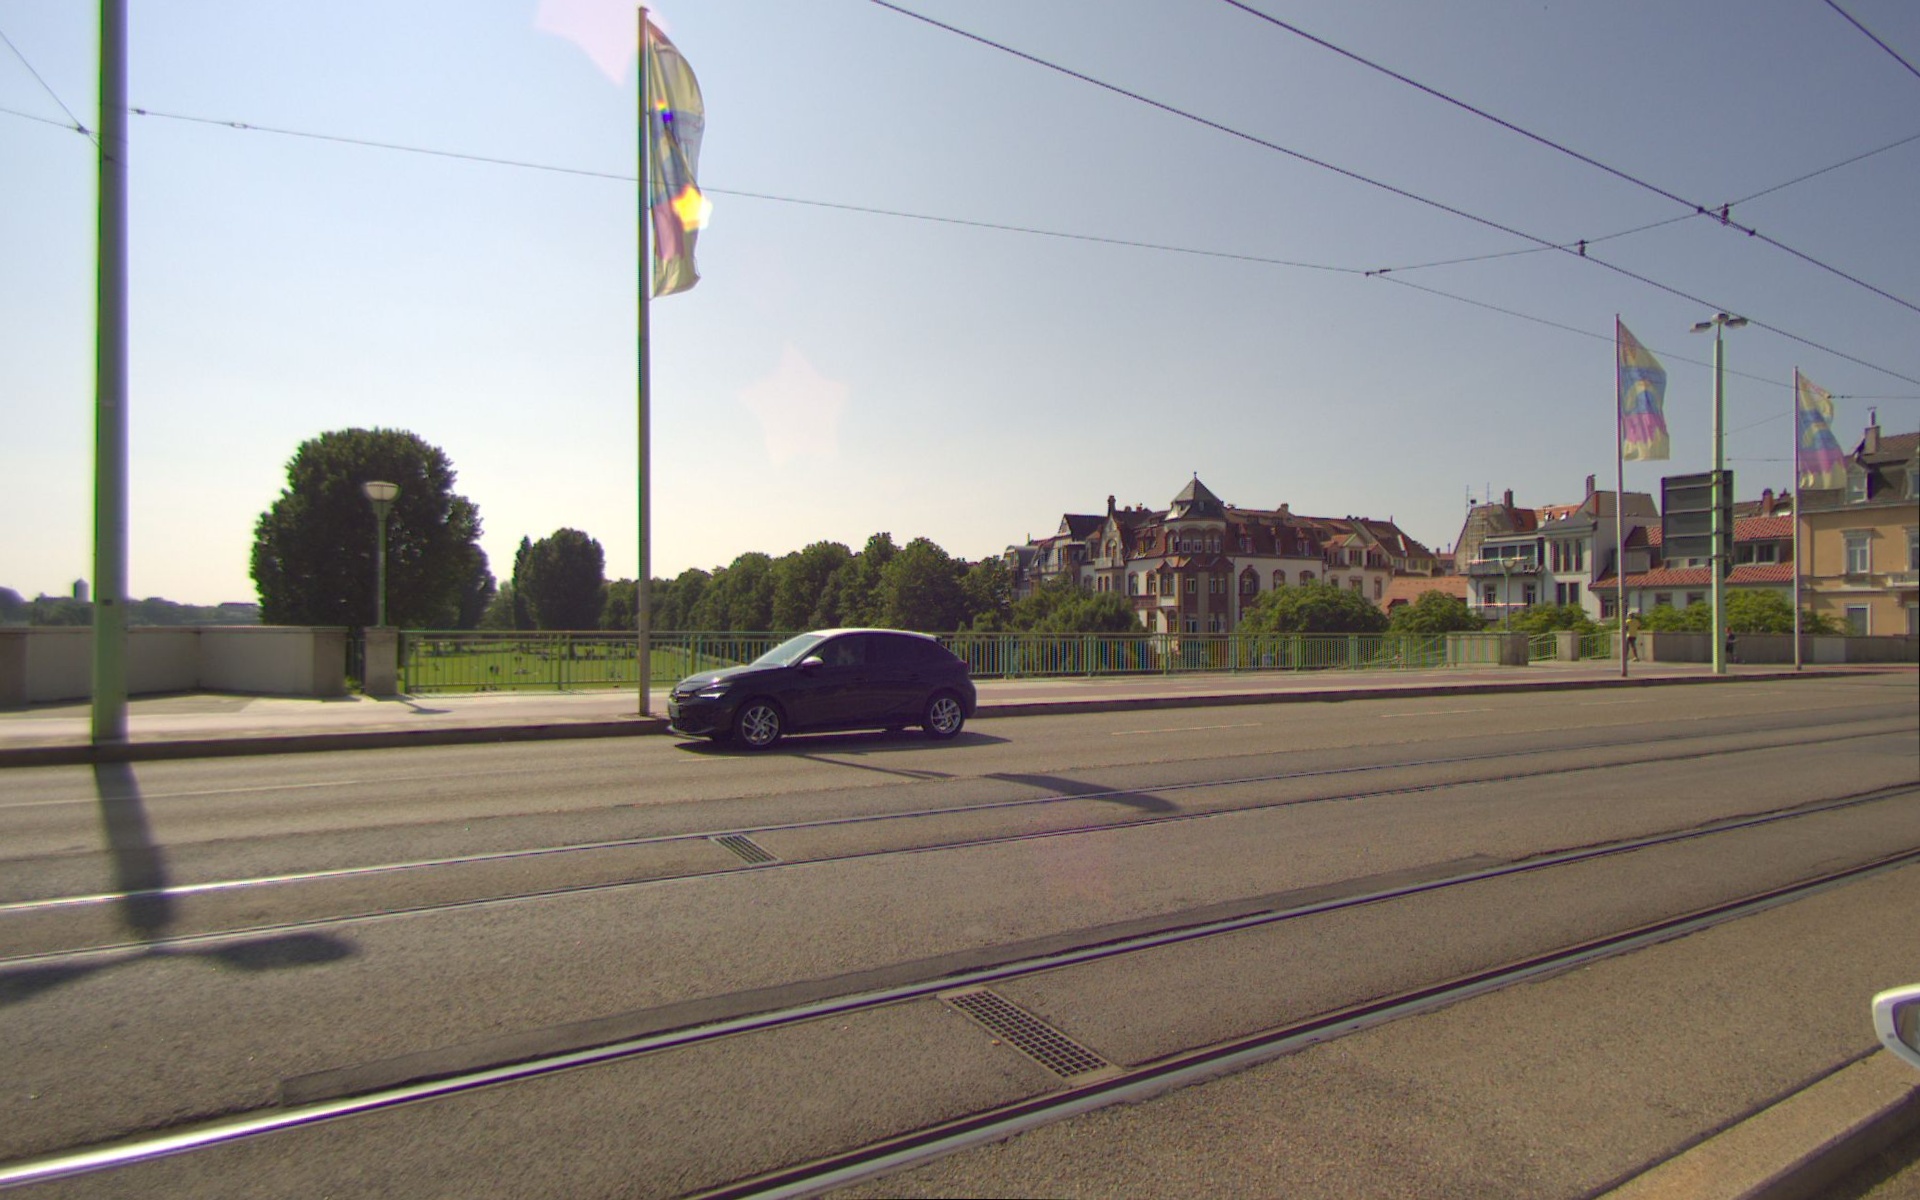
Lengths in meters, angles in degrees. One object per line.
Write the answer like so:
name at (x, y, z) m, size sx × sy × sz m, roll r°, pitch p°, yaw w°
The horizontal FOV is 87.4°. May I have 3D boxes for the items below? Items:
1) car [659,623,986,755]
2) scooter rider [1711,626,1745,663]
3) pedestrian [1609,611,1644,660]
car at (-1.731, 1.049, 12.962) m, size 3.856 × 1.473 × 1.708 m, roll 1°, pitch -2°, yaw -30°
scooter rider at (29.045, 1.668, 37.992) m, size 0.589 × 1.333 × 0.767 m, roll 2°, pitch 3°, yaw -18°
pedestrian at (24.780, 1.312, 37.349) m, size 0.789 × 1.804 × 0.745 m, roll 1°, pitch -2°, yaw -19°
